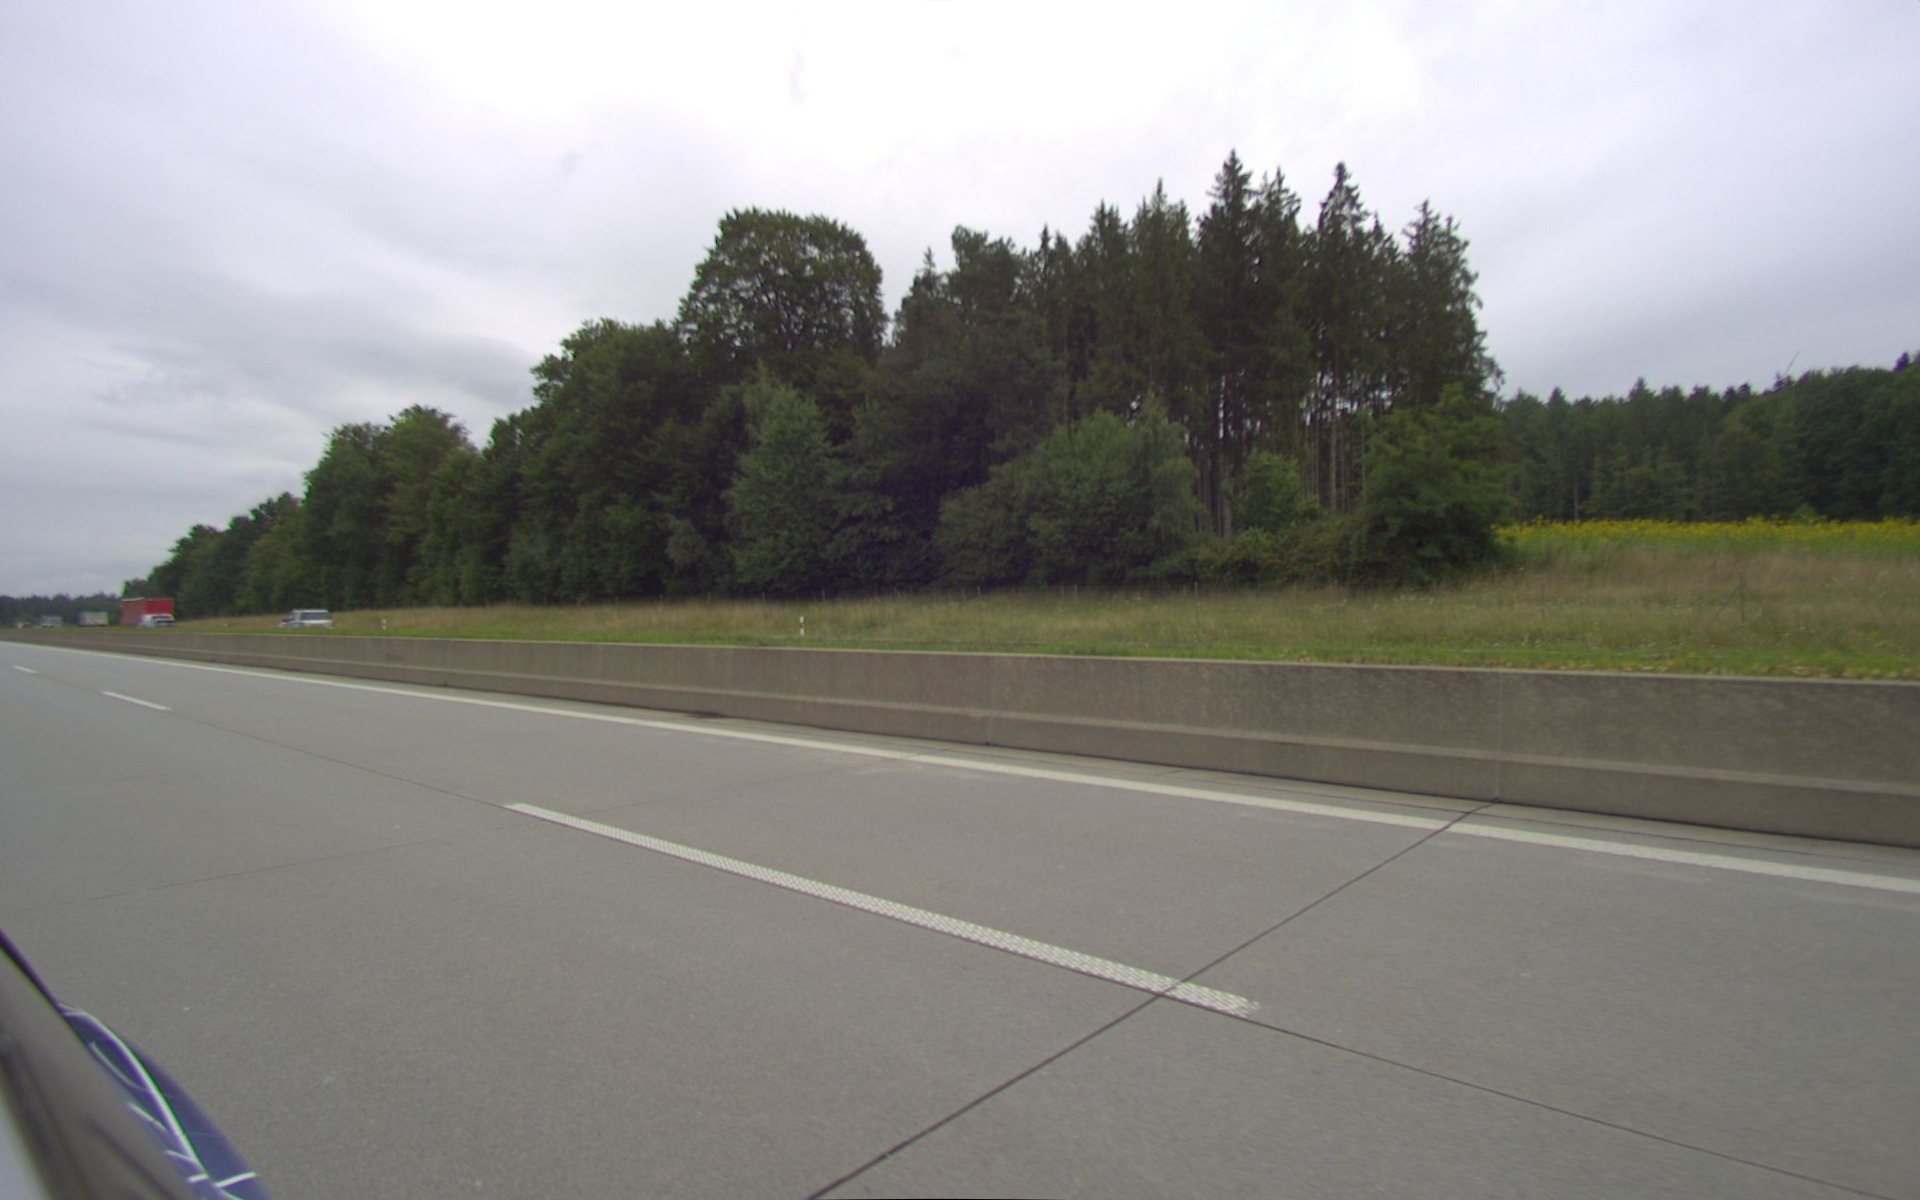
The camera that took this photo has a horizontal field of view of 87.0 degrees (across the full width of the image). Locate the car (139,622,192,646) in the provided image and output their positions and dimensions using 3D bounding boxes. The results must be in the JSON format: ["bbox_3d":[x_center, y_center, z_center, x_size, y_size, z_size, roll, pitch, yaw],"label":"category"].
[{"bbox_3d":[-53.053,2.263,67.549,4.490,1.477,1.973,-2,-1,42],"label":"car"}]

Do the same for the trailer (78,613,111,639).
[{"bbox_3d":[-129.467,3.874,151.384,9.012,3.728,2.773,-2,-1,43],"label":"trailer"}]

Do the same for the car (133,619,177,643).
[{"bbox_3d":[-69.502,2.644,87.338,5.623,1.971,1.973,-2,-1,41],"label":"car"}]

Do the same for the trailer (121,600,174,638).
[{"bbox_3d":[-92.488,2.216,115.032,14.378,3.974,2.580,-2,-1,43],"label":"trailer"}]

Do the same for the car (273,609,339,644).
[{"bbox_3d":[-36.445,1.476,56.350,4.390,1.814,1.973,-1,0,42],"label":"car"}]
